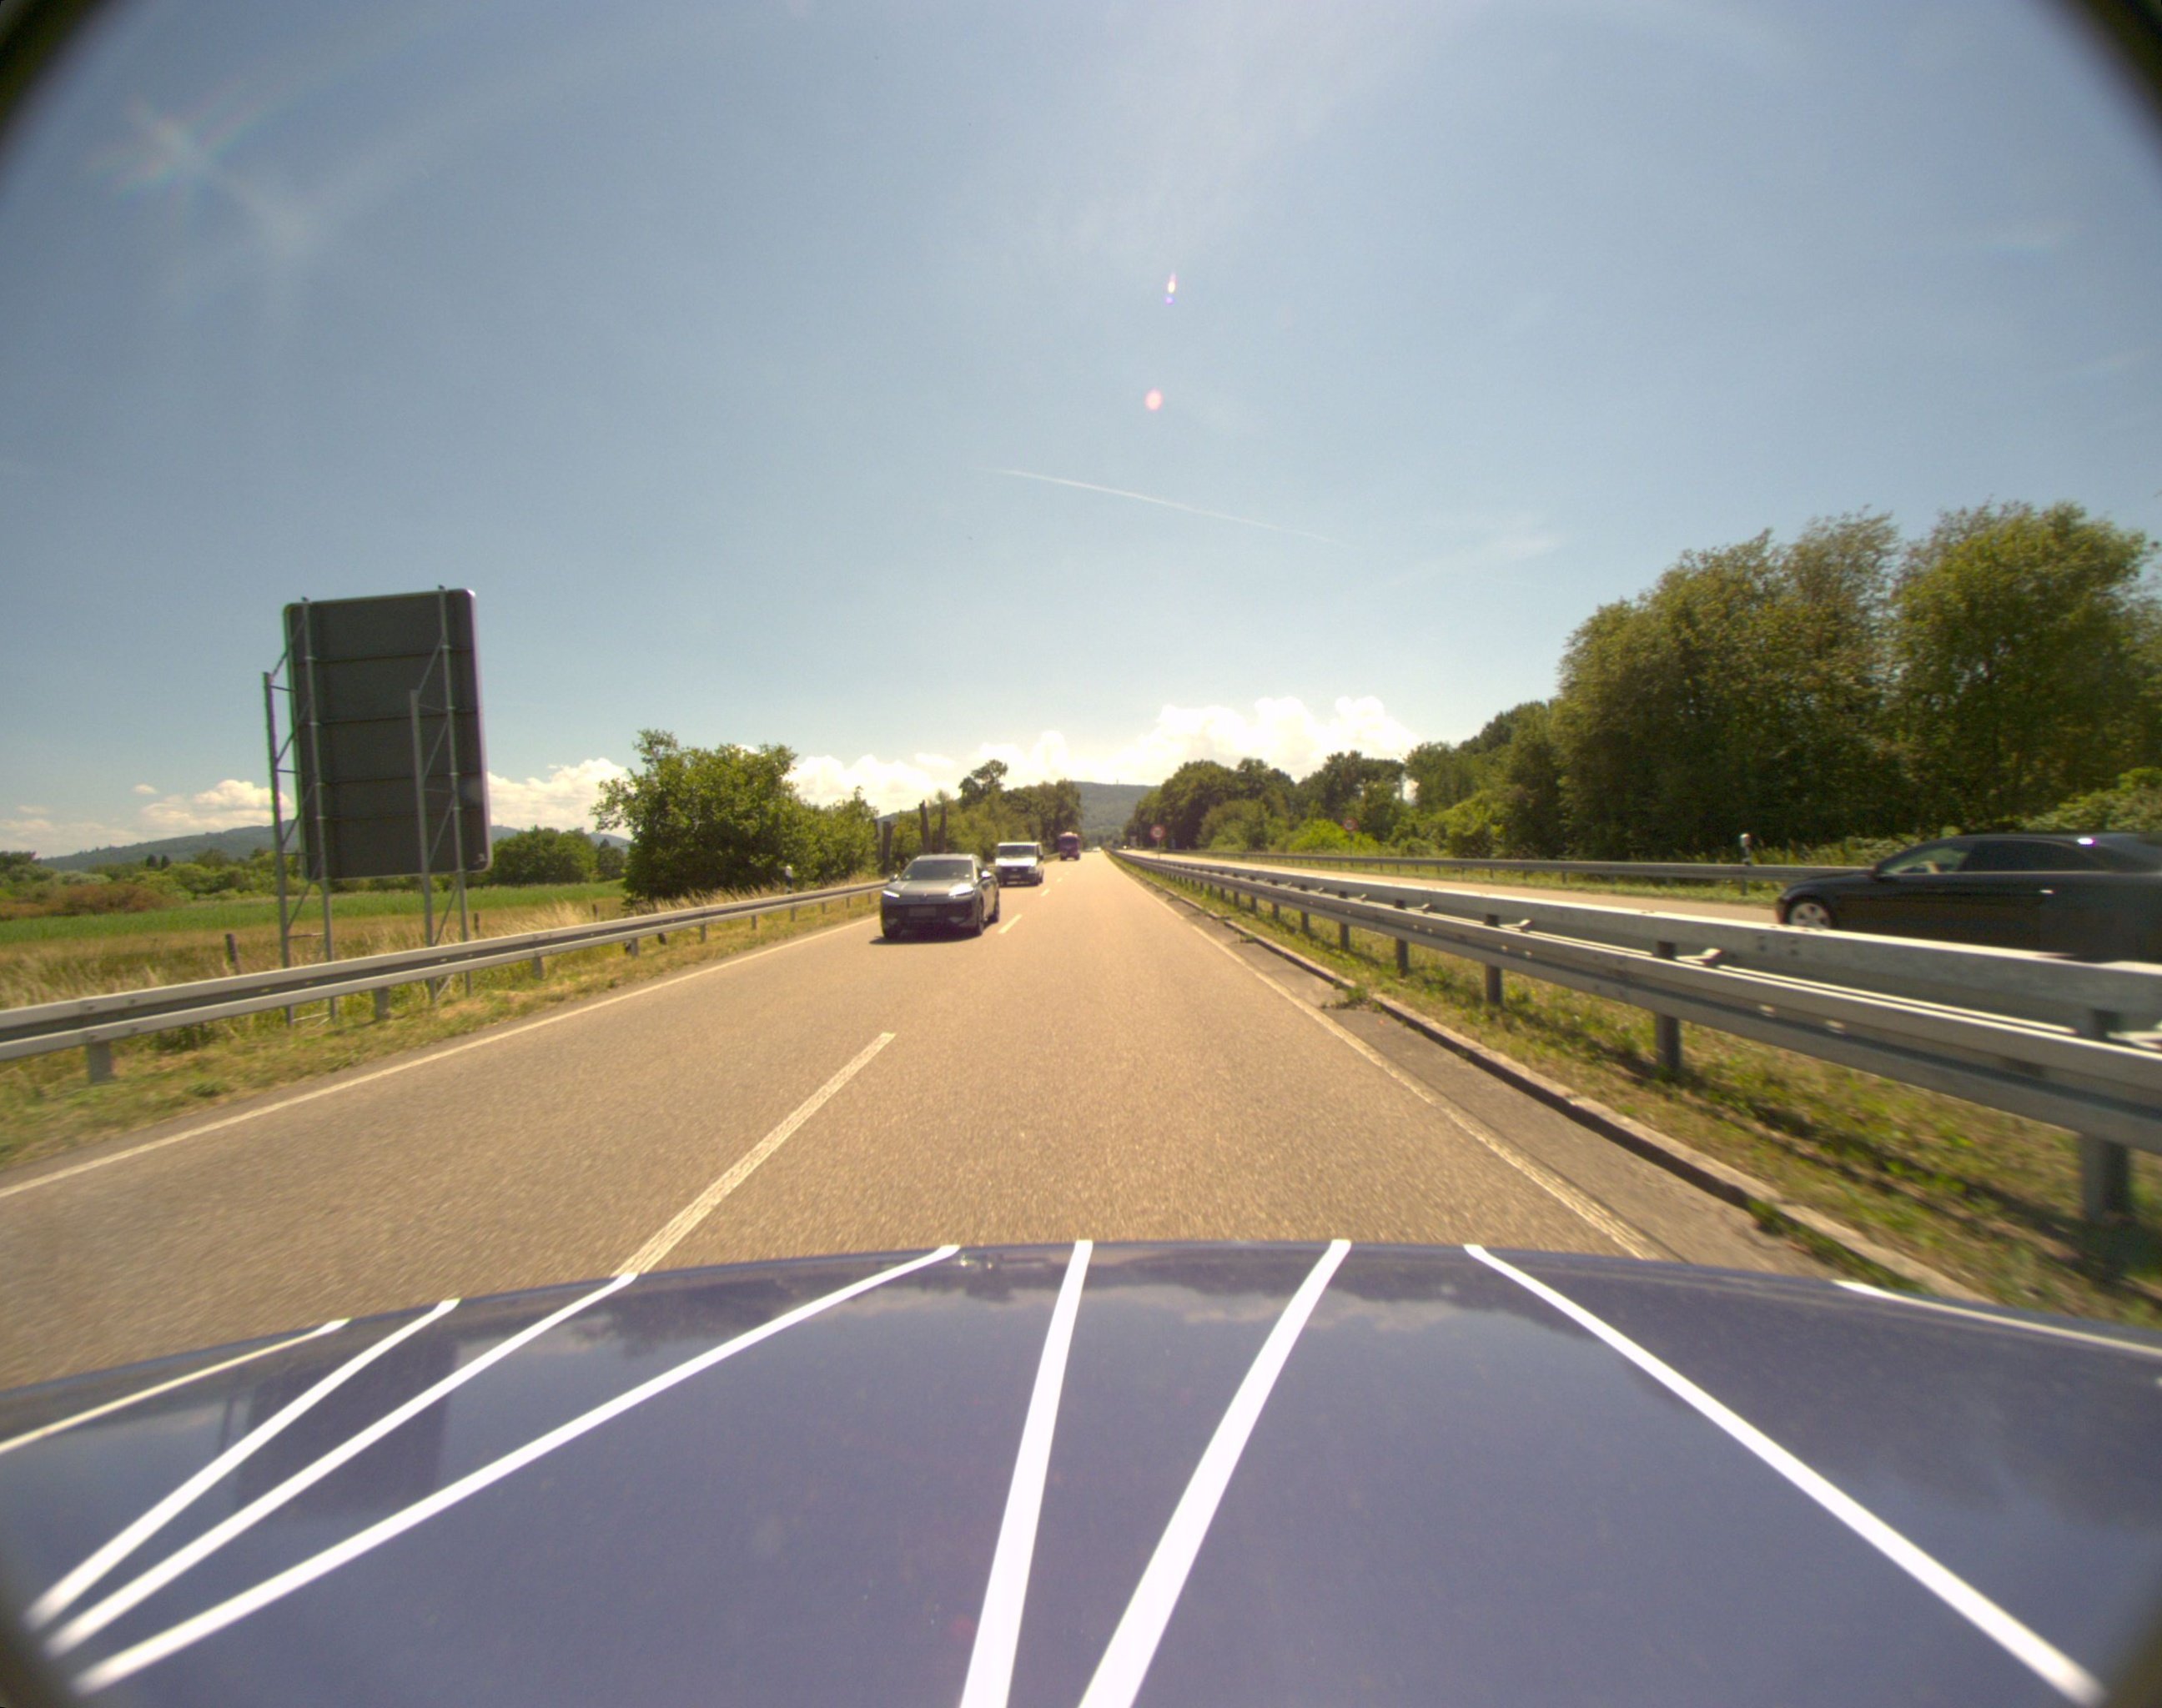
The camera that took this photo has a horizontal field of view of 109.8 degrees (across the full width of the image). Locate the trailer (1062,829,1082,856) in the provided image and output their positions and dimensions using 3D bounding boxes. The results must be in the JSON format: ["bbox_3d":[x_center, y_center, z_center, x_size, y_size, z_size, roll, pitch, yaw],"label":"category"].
[{"bbox_3d":[-1.207,-1.559,109.469,2.604,3.608,8.615,-2,0,1],"label":"trailer"}]

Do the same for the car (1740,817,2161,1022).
[{"bbox_3d":[10.041,0.517,7.953,1.998,1.627,4.873,-5,0,1],"label":"car"}]

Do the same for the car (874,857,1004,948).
[{"bbox_3d":[-2.686,0.850,15.294,1.789,1.544,4.019,-1,0,0],"label":"car"}]

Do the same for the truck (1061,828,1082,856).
[{"bbox_3d":[-1.288,-1.587,104.788,2.604,3.670,5.939,-2,0,1],"label":"truck"}]

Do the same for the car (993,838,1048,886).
[{"bbox_3d":[-2.711,0.368,35.189,2.011,1.977,5.034,-2,0,0],"label":"car"}]
